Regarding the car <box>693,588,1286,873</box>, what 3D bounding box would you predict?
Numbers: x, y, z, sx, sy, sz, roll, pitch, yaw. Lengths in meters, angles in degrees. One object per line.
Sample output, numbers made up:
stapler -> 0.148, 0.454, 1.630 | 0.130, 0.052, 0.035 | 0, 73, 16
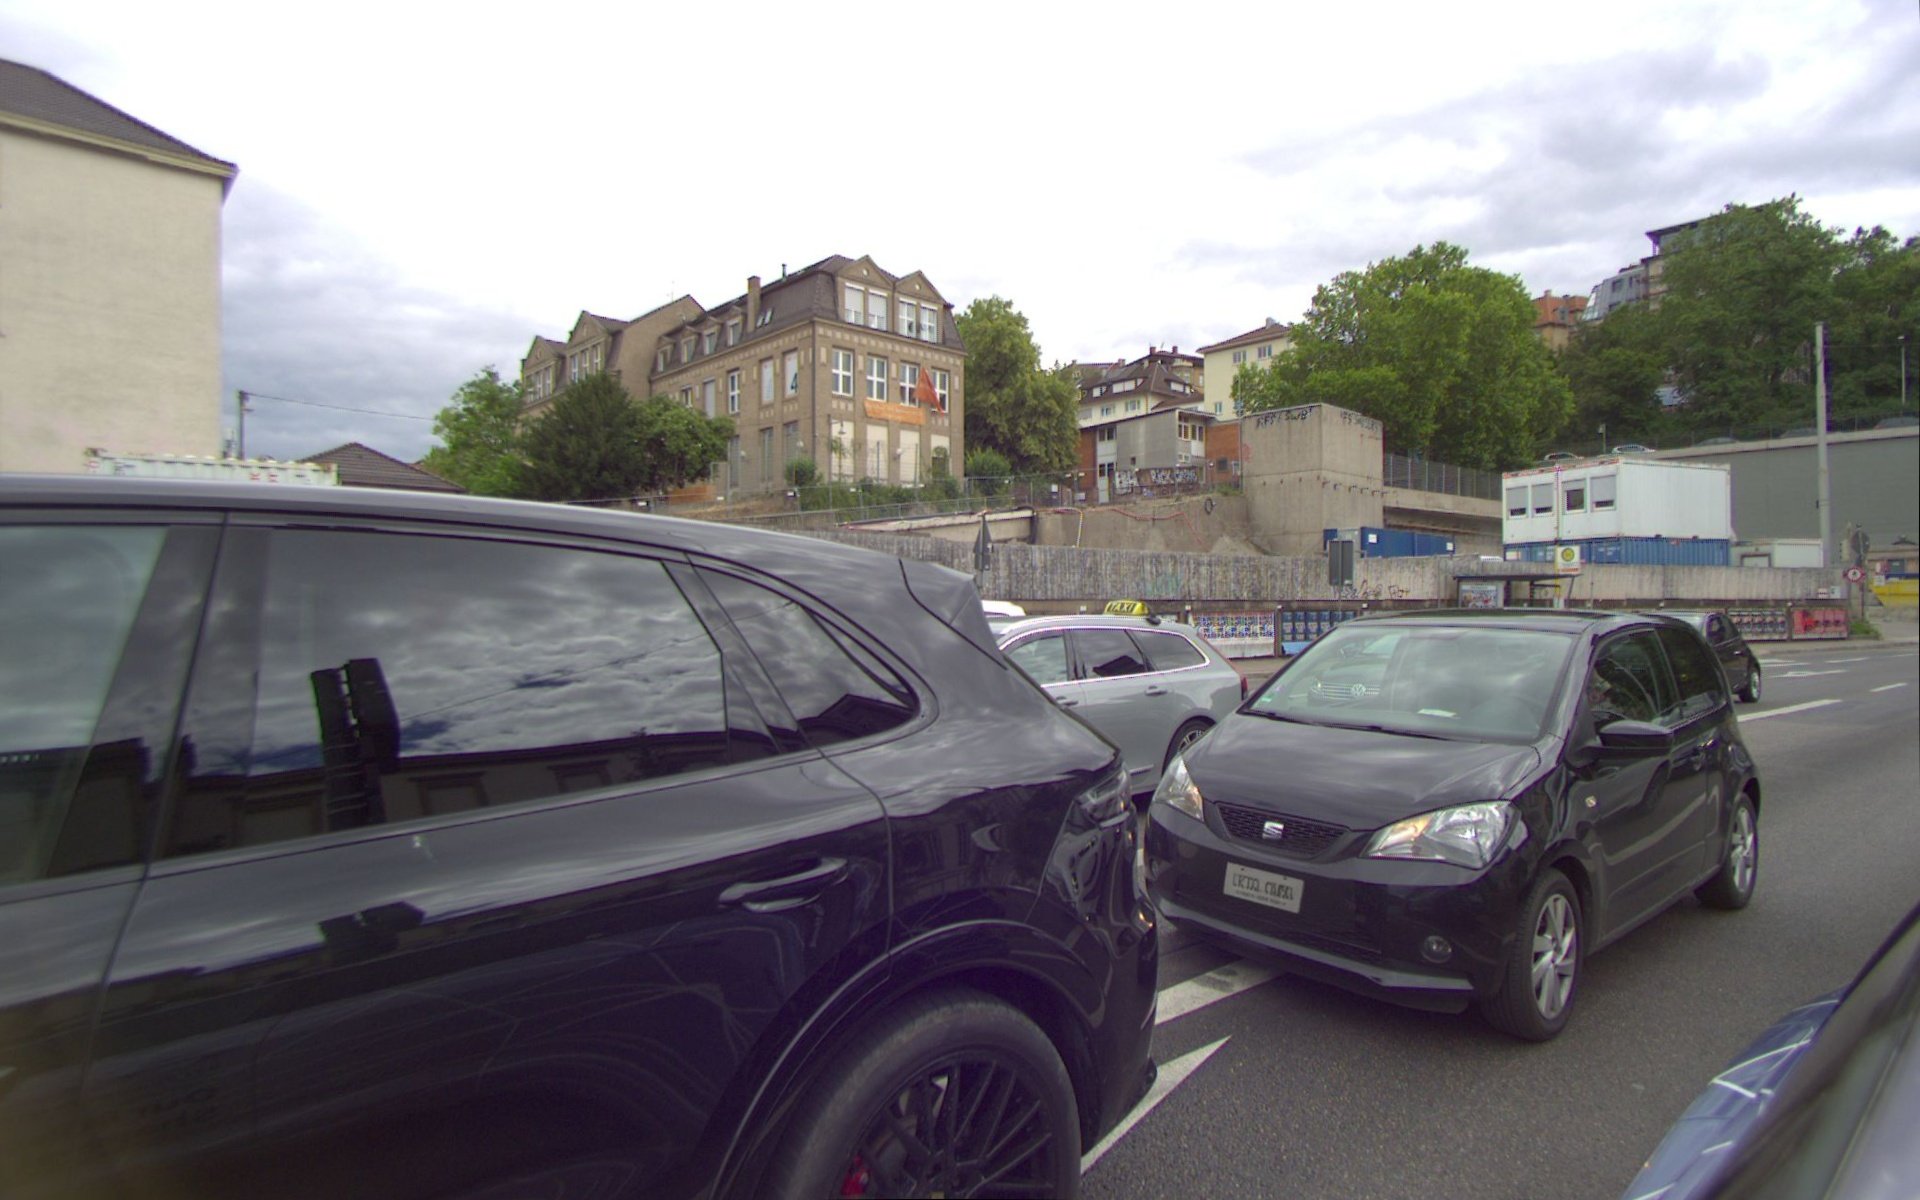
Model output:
car -> 0.398, 0.662, 7.331 | 4.142, 1.484, 1.825 | -1, 0, -40

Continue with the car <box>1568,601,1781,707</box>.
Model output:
car -> 11.336, 0.783, 16.000 | 3.711, 1.478, 1.721 | 1, -2, -38

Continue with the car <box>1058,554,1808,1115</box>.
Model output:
car -> 2.409, 0.636, 4.709 | 3.841, 1.575, 1.661 | -1, 0, -39

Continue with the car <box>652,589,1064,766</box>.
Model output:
car -> -0.941, 0.638, 10.594 | 4.004, 1.484, 1.824 | -1, 0, -42

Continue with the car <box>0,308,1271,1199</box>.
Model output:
car -> -1.660, 0.560, 1.658 | 4.497, 1.689, 1.998 | -1, 0, -39

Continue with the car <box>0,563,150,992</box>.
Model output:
car -> -5.064, 0.641, 3.448 | 3.581, 1.529, 1.826 | -1, 0, -39

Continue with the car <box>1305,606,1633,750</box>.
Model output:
car -> 6.022, 0.774, 11.795 | 4.139, 1.381, 1.827 | 1, 0, -38
